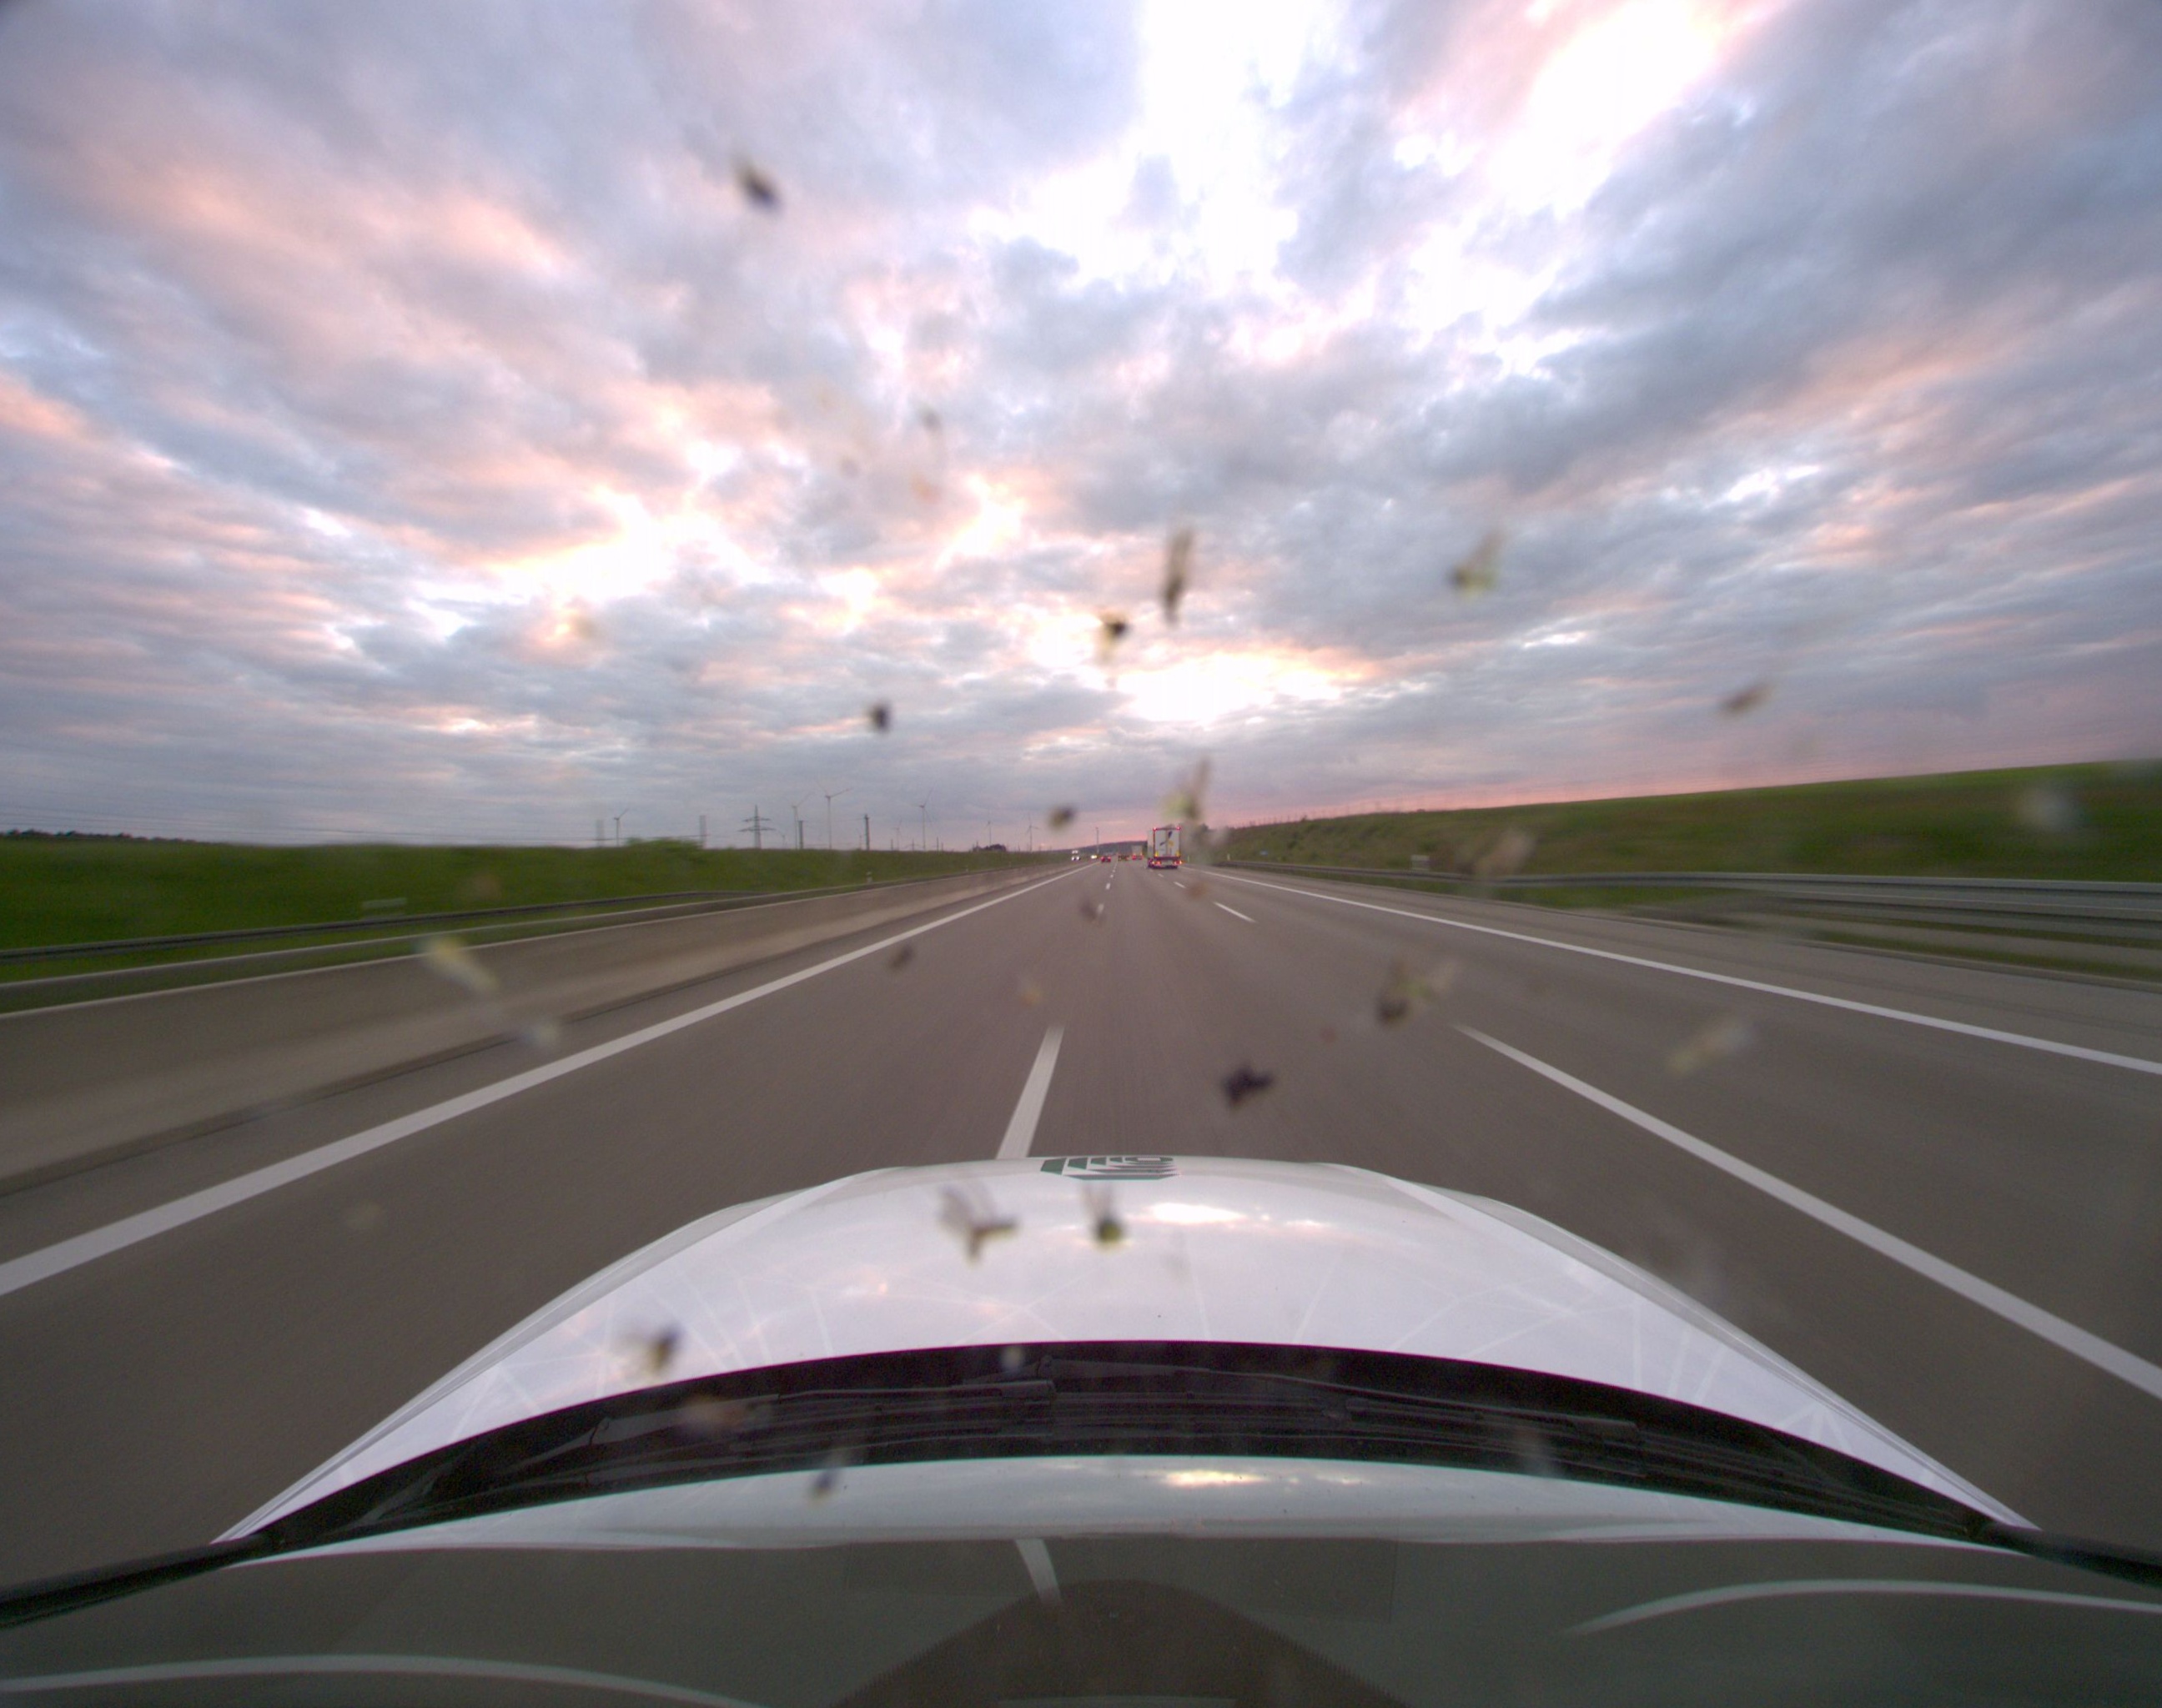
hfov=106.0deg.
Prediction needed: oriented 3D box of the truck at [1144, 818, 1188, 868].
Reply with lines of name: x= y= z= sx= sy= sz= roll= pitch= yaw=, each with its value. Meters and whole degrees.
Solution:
truck: x=8.603 y=-1.103 z=83.696 sx=3.660 sy=4.564 sz=10.989 roll=-2 pitch=0 yaw=3

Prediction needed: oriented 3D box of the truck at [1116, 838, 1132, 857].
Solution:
truck: x=10.291 y=-1.510 z=194.165 sx=3.633 sy=4.414 sz=8.641 roll=-1 pitch=0 yaw=2

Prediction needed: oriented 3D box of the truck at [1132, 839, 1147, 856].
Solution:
truck: x=16.308 y=-1.866 z=227.718 sx=3.951 sy=4.413 sz=8.641 roll=-3 pitch=0 yaw=2

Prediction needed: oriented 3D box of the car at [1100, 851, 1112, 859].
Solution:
car: x=4.565 y=0.168 z=149.293 sx=1.978 sy=1.429 sz=4.006 roll=-3 pitch=1 yaw=5
